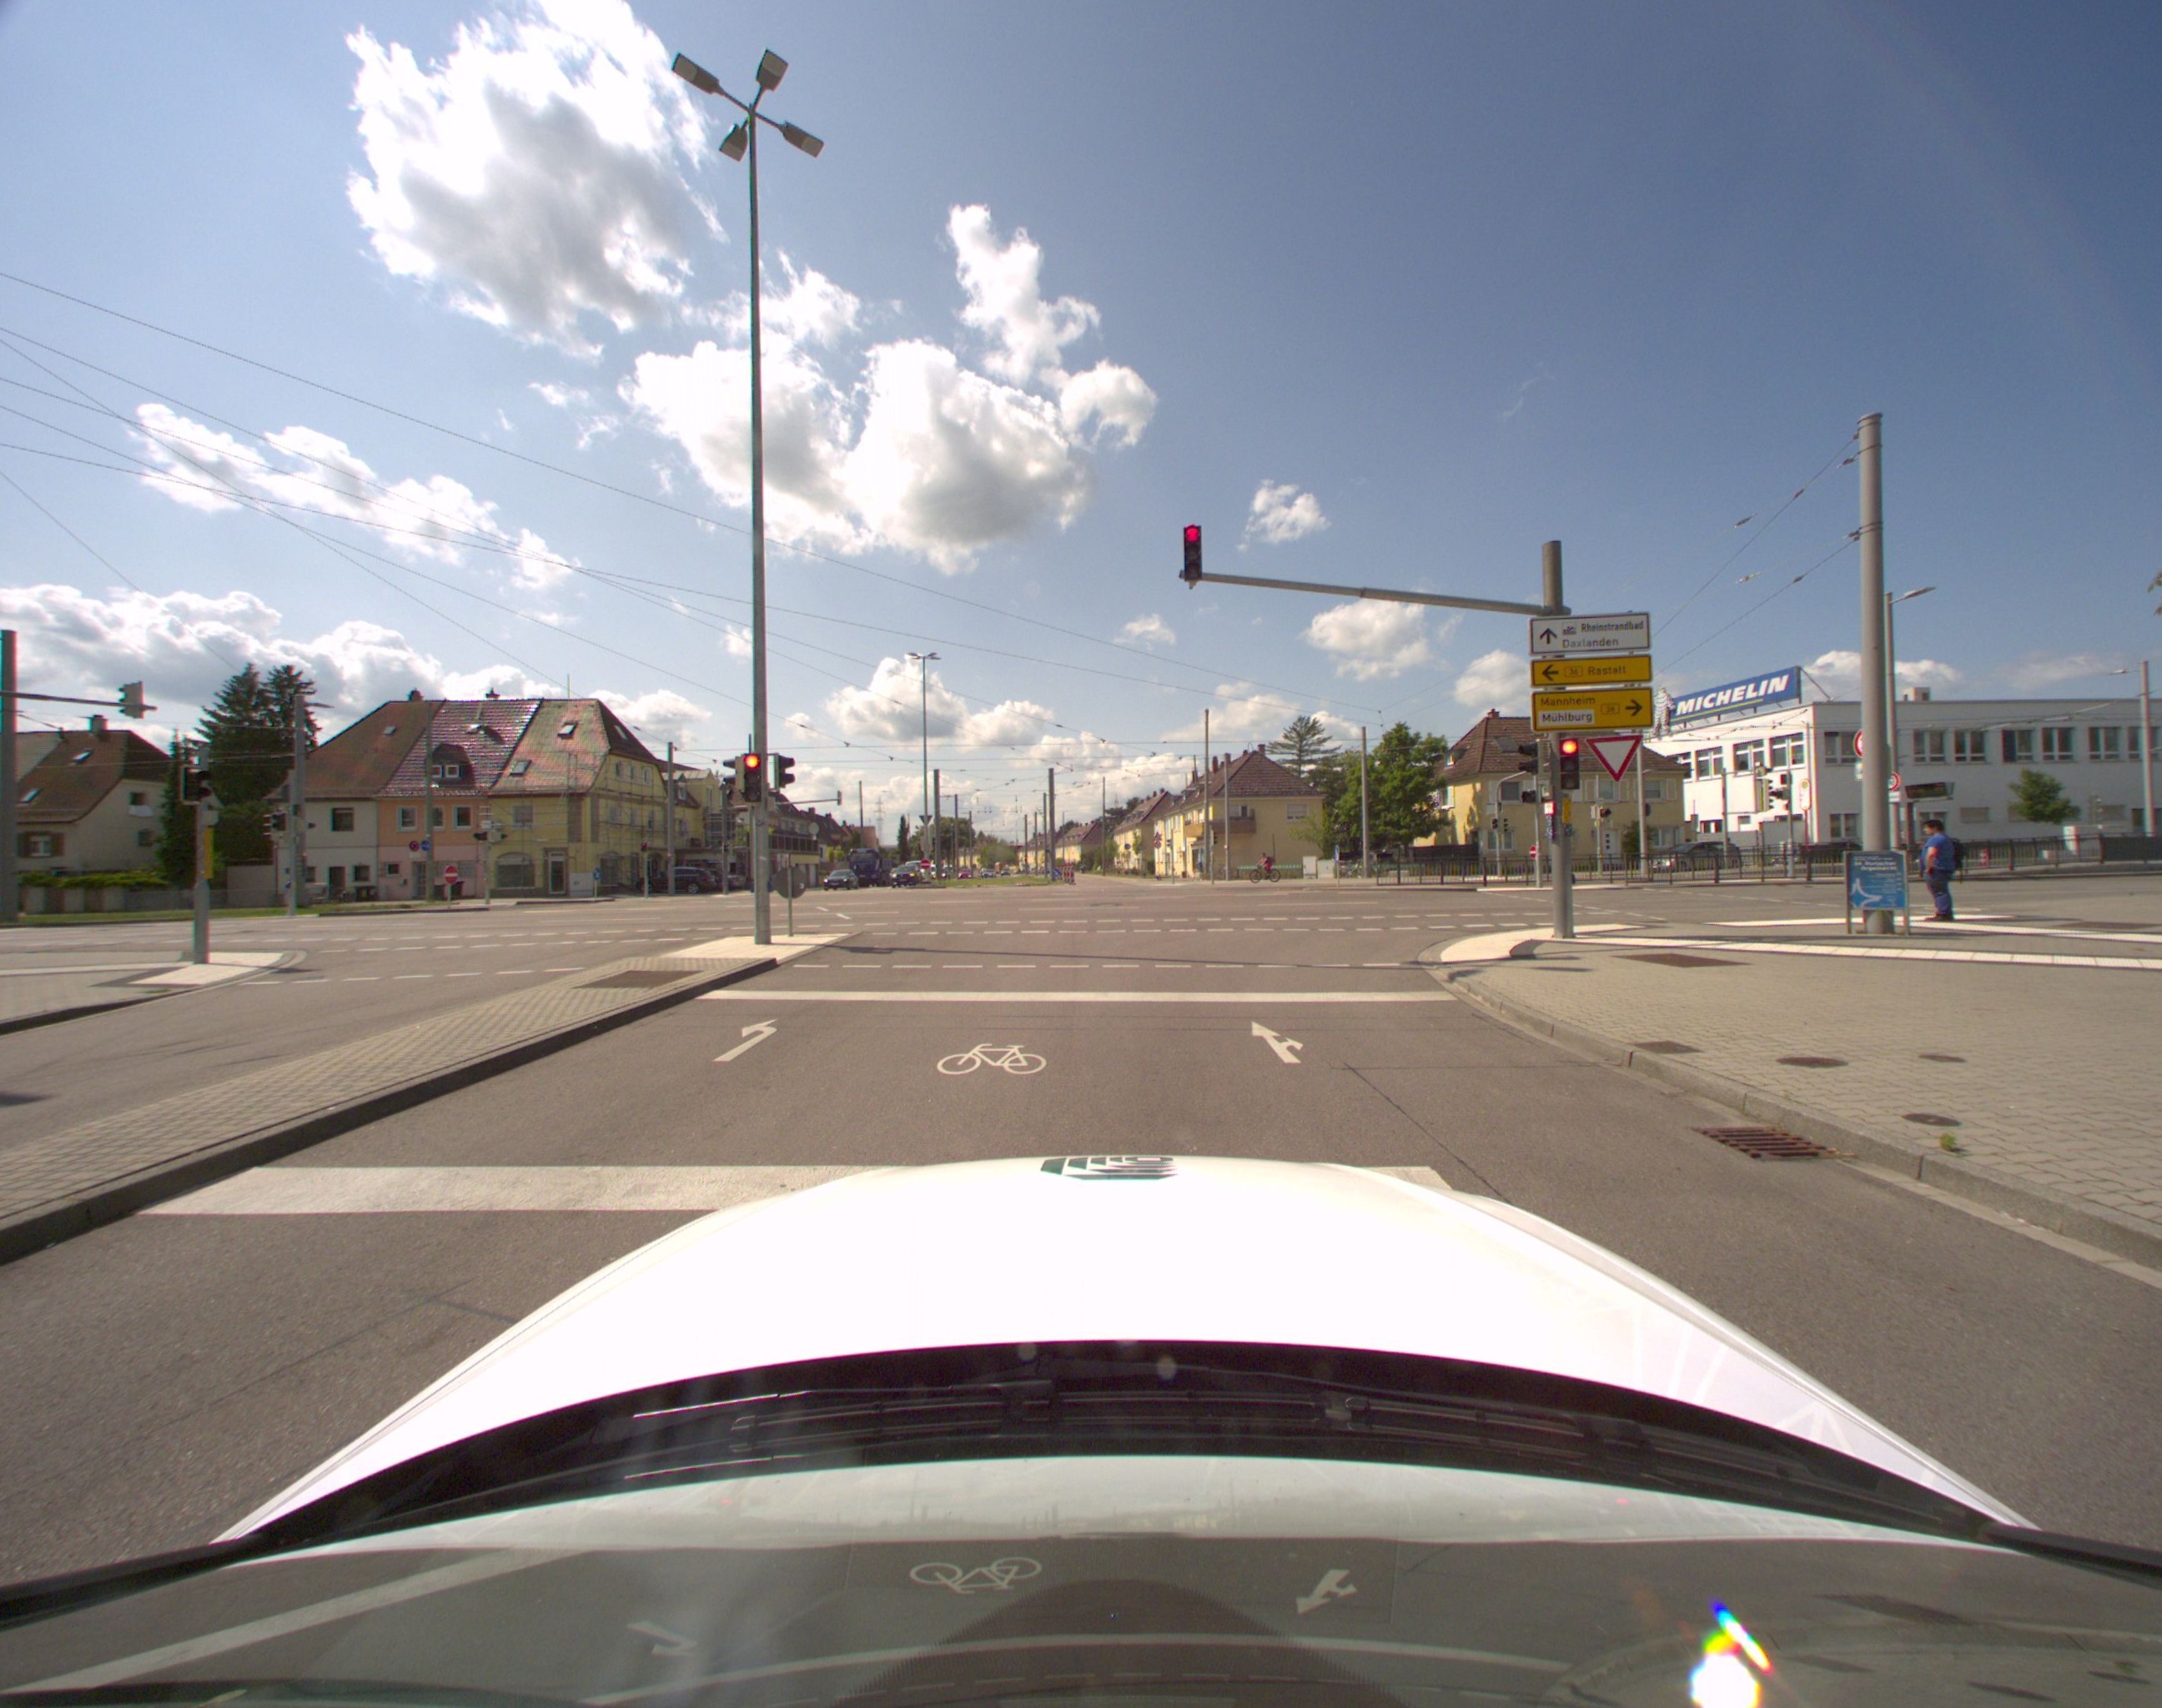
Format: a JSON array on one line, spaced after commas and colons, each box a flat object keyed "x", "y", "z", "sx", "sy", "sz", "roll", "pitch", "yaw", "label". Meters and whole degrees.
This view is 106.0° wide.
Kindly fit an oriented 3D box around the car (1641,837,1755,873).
[{"x": 28.958, "y": 0.061, "z": 38.304, "sx": 3.974, "sy": 1.568, "sz": 1.842, "roll": -2, "pitch": -1, "yaw": -1, "label": "car"}]

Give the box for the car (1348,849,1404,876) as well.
[{"x": 19.761, "y": 0.588, "z": 54.699, "sx": 1.821, "sy": 1.621, "sz": 3.989, "roll": -1, "pitch": -2, "yaw": -8, "label": "car"}]

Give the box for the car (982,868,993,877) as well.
[{"x": -16.064, "y": 3.186, "z": 139.968, "sx": 1.840, "sy": 1.562, "sz": 4.180, "roll": -2, "pitch": -1, "yaw": -5, "label": "car"}]

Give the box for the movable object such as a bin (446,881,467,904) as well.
[{"x": -35.353, "y": 2.151, "z": 46.092, "sx": 0.680, "sy": 1.260, "sz": 0.681, "roll": 0, "pitch": -1, "yaw": -2, "label": "movable object such as a bin"}]

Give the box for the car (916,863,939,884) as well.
[{"x": -13.982, "y": 1.739, "z": 74.327, "sx": 1.731, "sy": 1.782, "sz": 4.395, "roll": -2, "pitch": -1, "yaw": -6, "label": "car"}]

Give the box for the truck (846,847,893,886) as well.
[{"x": -18.165, "y": 1.101, "z": 70.268, "sx": 2.765, "sy": 3.188, "sz": 7.565, "roll": -1, "pitch": -1, "yaw": -6, "label": "truck"}]

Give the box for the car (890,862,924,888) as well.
[{"x": -12.782, "y": 1.506, "z": 60.003, "sx": 1.783, "sy": 1.720, "sz": 4.434, "roll": -1, "pitch": 0, "yaw": -5, "label": "car"}]

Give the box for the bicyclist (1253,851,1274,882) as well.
[{"x": 10.681, "y": 0.721, "z": 47.790, "sx": 0.957, "sy": 1.775, "sz": 0.717, "roll": -1, "pitch": -1, "yaw": -10, "label": "bicyclist"}]

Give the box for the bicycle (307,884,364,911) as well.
[{"x": -40.808, "y": 2.361, "z": 44.625, "sx": 0.770, "sy": 1.356, "sz": 2.460, "roll": 0, "pitch": -1, "yaw": 3, "label": "bicycle"}]

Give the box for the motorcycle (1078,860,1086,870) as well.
[{"x": 0.213, "y": 1.760, "z": 132.189, "sx": 1.065, "sy": 1.635, "sz": 2.079, "roll": -1, "pitch": -1, "yaw": -6, "label": "motorcycle"}]

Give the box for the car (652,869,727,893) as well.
[{"x": -25.453, "y": 1.739, "z": 53.041, "sx": 4.129, "sy": 1.493, "sz": 1.504, "roll": 0, "pitch": -1, "yaw": -7, "label": "car"}]

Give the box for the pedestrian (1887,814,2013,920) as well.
[{"x": 14.922, "y": 0.214, "z": 14.026, "sx": 1.027, "sy": 1.735, "sz": 1.040, "roll": -1, "pitch": 0, "yaw": -2, "label": "pedestrian"}]

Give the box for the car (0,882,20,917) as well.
[{"x": -48.616, "y": 1.993, "z": 35.077, "sx": 3.533, "sy": 1.508, "sz": 1.583, "roll": 0, "pitch": -1, "yaw": -4, "label": "car"}]

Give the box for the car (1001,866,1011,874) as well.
[{"x": -15.206, "y": 3.196, "z": 165.689, "sx": 1.814, "sy": 1.552, "sz": 3.997, "roll": -2, "pitch": 0, "yaw": -2, "label": "car"}]

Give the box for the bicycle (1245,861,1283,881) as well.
[{"x": 10.659, "y": 1.018, "z": 47.543, "sx": 2.026, "sy": 1.102, "sz": 0.713, "roll": -1, "pitch": -1, "yaw": -9, "label": "bicycle"}]

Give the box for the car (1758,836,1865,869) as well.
[{"x": 34.914, "y": -0.069, "z": 38.956, "sx": 3.698, "sy": 1.446, "sz": 1.576, "roll": -2, "pitch": -1, "yaw": -1, "label": "car"}]

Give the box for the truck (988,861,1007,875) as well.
[{"x": -22.419, "y": 3.832, "z": 218.292, "sx": 2.651, "sy": 3.494, "sz": 9.368, "roll": -1, "pitch": -1, "yaw": -21, "label": "truck"}]

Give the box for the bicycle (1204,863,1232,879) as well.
[{"x": 9.336, "y": 1.168, "z": 55.621, "sx": 0.596, "sy": 1.096, "sz": 2.256, "roll": -1, "pitch": -1, "yaw": -27, "label": "bicycle"}]

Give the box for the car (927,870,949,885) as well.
[{"x": -14.257, "y": 2.342, "z": 81.276, "sx": 1.912, "sy": 1.419, "sz": 3.991, "roll": -1, "pitch": -1, "yaw": -6, "label": "car"}]

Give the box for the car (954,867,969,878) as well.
[{"x": -16.886, "y": 2.603, "z": 115.180, "sx": 1.840, "sy": 1.494, "sz": 4.847, "roll": -2, "pitch": -1, "yaw": -5, "label": "car"}]

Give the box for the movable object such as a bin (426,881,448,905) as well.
[{"x": -35.378, "y": 2.140, "z": 44.756, "sx": 0.680, "sy": 1.260, "sz": 0.681, "roll": 0, "pitch": -1, "yaw": -2, "label": "movable object such as a bin"}]

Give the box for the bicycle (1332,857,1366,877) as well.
[{"x": 15.938, "y": 0.772, "z": 48.428, "sx": 1.785, "sy": 1.105, "sz": 0.707, "roll": -2, "pitch": -1, "yaw": 41, "label": "bicycle"}]

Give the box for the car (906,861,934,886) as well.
[{"x": -13.108, "y": 1.544, "z": 66.432, "sx": 1.812, "sy": 1.922, "sz": 4.737, "roll": -1, "pitch": -1, "yaw": -6, "label": "car"}]

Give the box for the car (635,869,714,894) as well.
[{"x": -25.090, "y": 1.717, "z": 50.355, "sx": 4.129, "sy": 1.493, "sz": 1.176, "roll": 0, "pitch": -1, "yaw": -7, "label": "car"}]

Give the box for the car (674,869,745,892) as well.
[{"x": -25.397, "y": 1.796, "z": 55.753, "sx": 4.129, "sy": 1.493, "sz": 1.431, "roll": 0, "pitch": -1, "yaw": -7, "label": "car"}]

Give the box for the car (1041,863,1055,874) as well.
[{"x": -6.393, "y": 2.782, "z": 157.619, "sx": 2.064, "sy": 2.149, "sz": 4.865, "roll": -1, "pitch": -1, "yaw": -8, "label": "car"}]

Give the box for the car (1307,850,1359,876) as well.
[{"x": 16.971, "y": 0.657, "z": 55.130, "sx": 1.821, "sy": 1.621, "sz": 3.989, "roll": -1, "pitch": -2, "yaw": -8, "label": "car"}]

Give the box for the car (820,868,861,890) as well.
[{"x": -17.240, "y": 1.793, "z": 58.627, "sx": 1.824, "sy": 1.487, "sz": 4.328, "roll": -1, "pitch": -1, "yaw": -3, "label": "car"}]
